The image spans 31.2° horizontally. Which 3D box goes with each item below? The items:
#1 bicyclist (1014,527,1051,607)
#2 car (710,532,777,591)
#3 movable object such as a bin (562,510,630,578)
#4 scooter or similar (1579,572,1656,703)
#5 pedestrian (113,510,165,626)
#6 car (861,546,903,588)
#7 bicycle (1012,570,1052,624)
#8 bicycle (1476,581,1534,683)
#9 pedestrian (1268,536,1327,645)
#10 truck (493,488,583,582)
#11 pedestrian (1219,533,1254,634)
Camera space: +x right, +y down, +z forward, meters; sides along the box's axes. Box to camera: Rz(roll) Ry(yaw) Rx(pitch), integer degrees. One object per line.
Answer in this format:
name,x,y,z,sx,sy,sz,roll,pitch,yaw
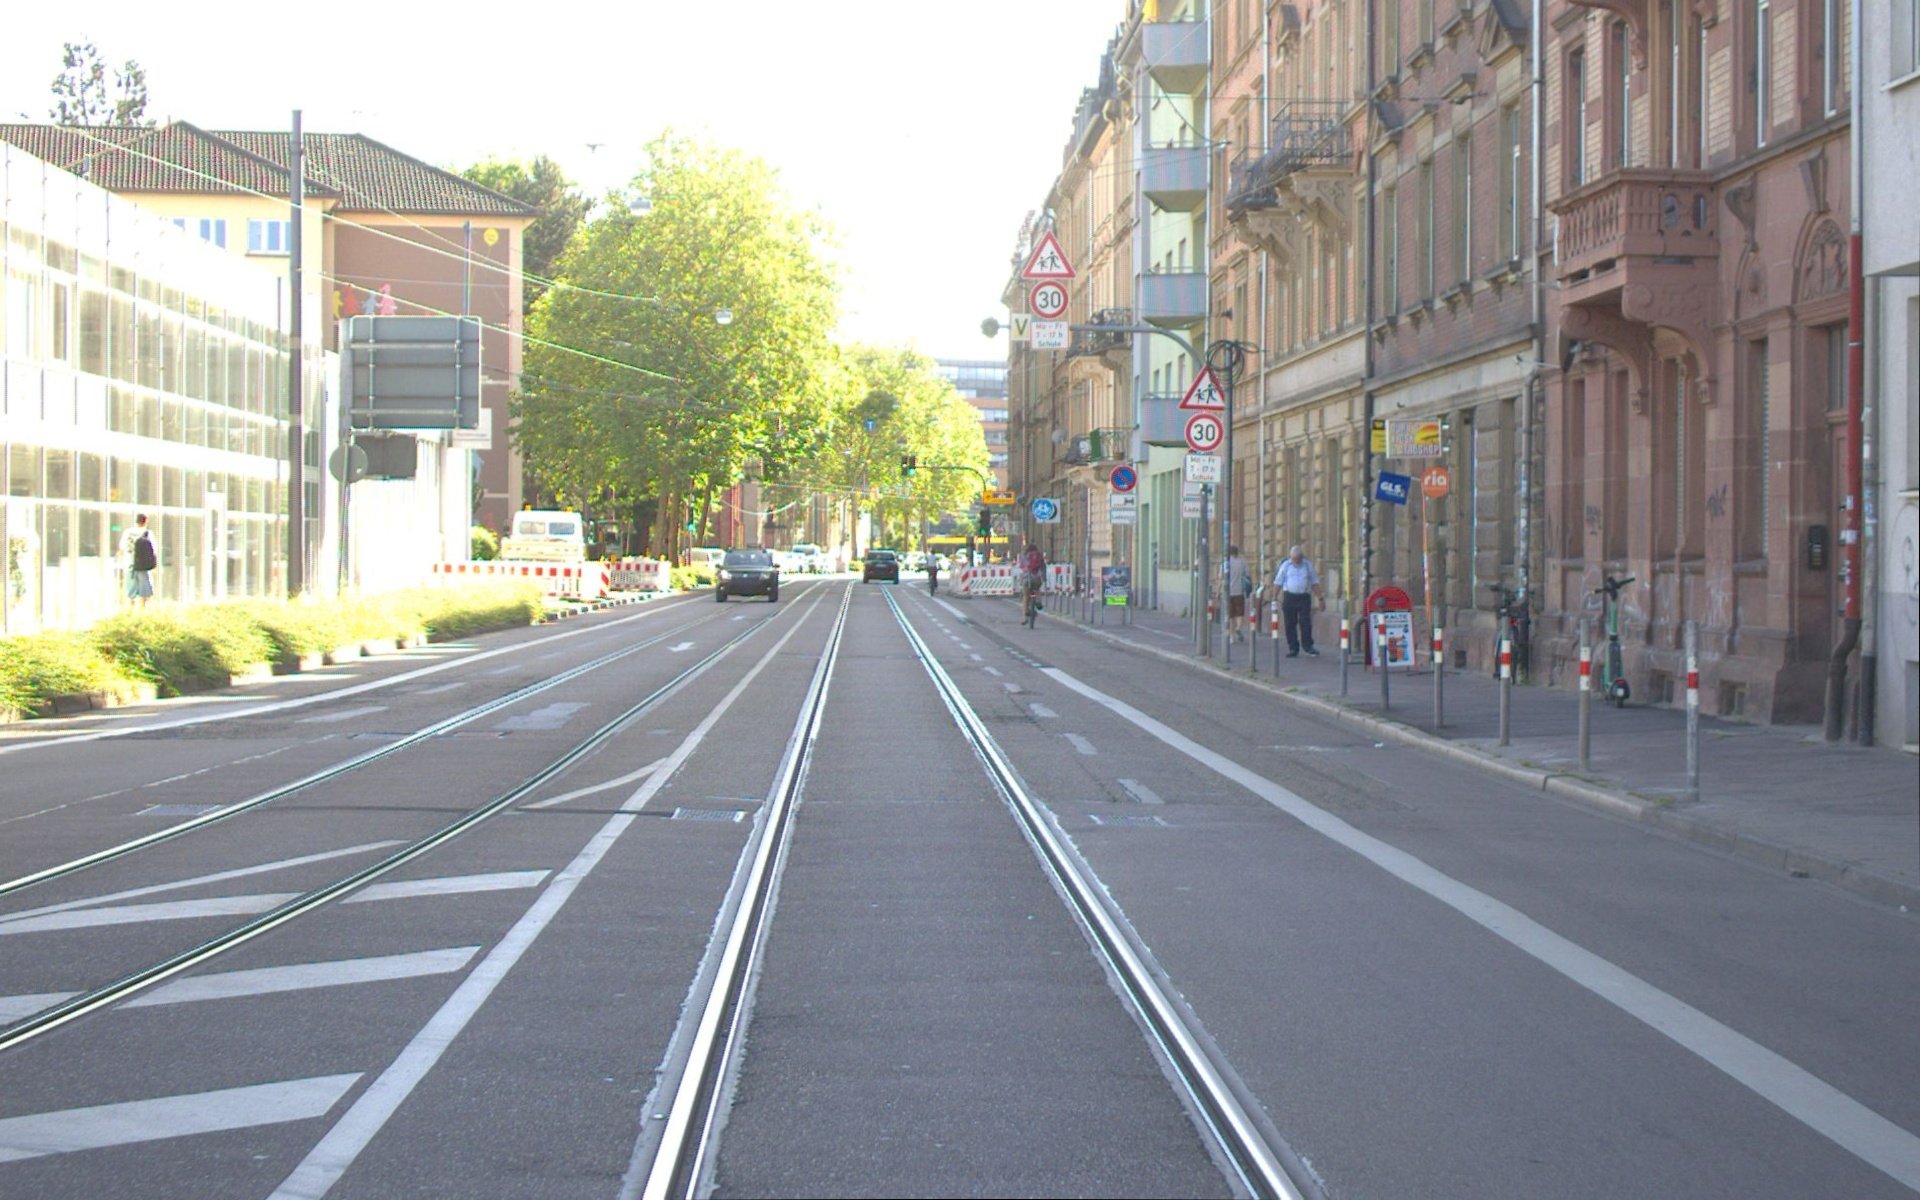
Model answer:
bicyclist,1.553,-0.705,73.858,0.667,1.691,1.043,2,0,-2
car,-6.551,-1.158,104.302,1.759,1.691,4.144,2,0,0
movable object such as a bin,-14.825,-2.297,140.355,2.495,2.636,5.990,2,1,-4
scooter or similar,6.263,0.346,32.800,0.406,1.207,1.480,-1,0,-1
pedestrian,-12.706,-0.493,53.204,0.526,1.759,1.051,2,0,-2
car,-3.931,-1.671,173.539,1.993,2.007,4.000,2,0,-1
bicycle,1.539,-0.077,73.575,0.681,1.110,2.707,2,1,-2
bicycle,6.161,0.354,38.906,0.410,1.117,1.898,-1,0,3
pedestrian,4.981,-0.139,50.749,0.798,1.599,0.652,0,0,1
truck,-13.372,-2.028,109.199,2.537,2.820,6.377,2,0,-5
pedestrian,4.703,-0.283,58.506,0.553,1.695,0.474,-1,0,3
